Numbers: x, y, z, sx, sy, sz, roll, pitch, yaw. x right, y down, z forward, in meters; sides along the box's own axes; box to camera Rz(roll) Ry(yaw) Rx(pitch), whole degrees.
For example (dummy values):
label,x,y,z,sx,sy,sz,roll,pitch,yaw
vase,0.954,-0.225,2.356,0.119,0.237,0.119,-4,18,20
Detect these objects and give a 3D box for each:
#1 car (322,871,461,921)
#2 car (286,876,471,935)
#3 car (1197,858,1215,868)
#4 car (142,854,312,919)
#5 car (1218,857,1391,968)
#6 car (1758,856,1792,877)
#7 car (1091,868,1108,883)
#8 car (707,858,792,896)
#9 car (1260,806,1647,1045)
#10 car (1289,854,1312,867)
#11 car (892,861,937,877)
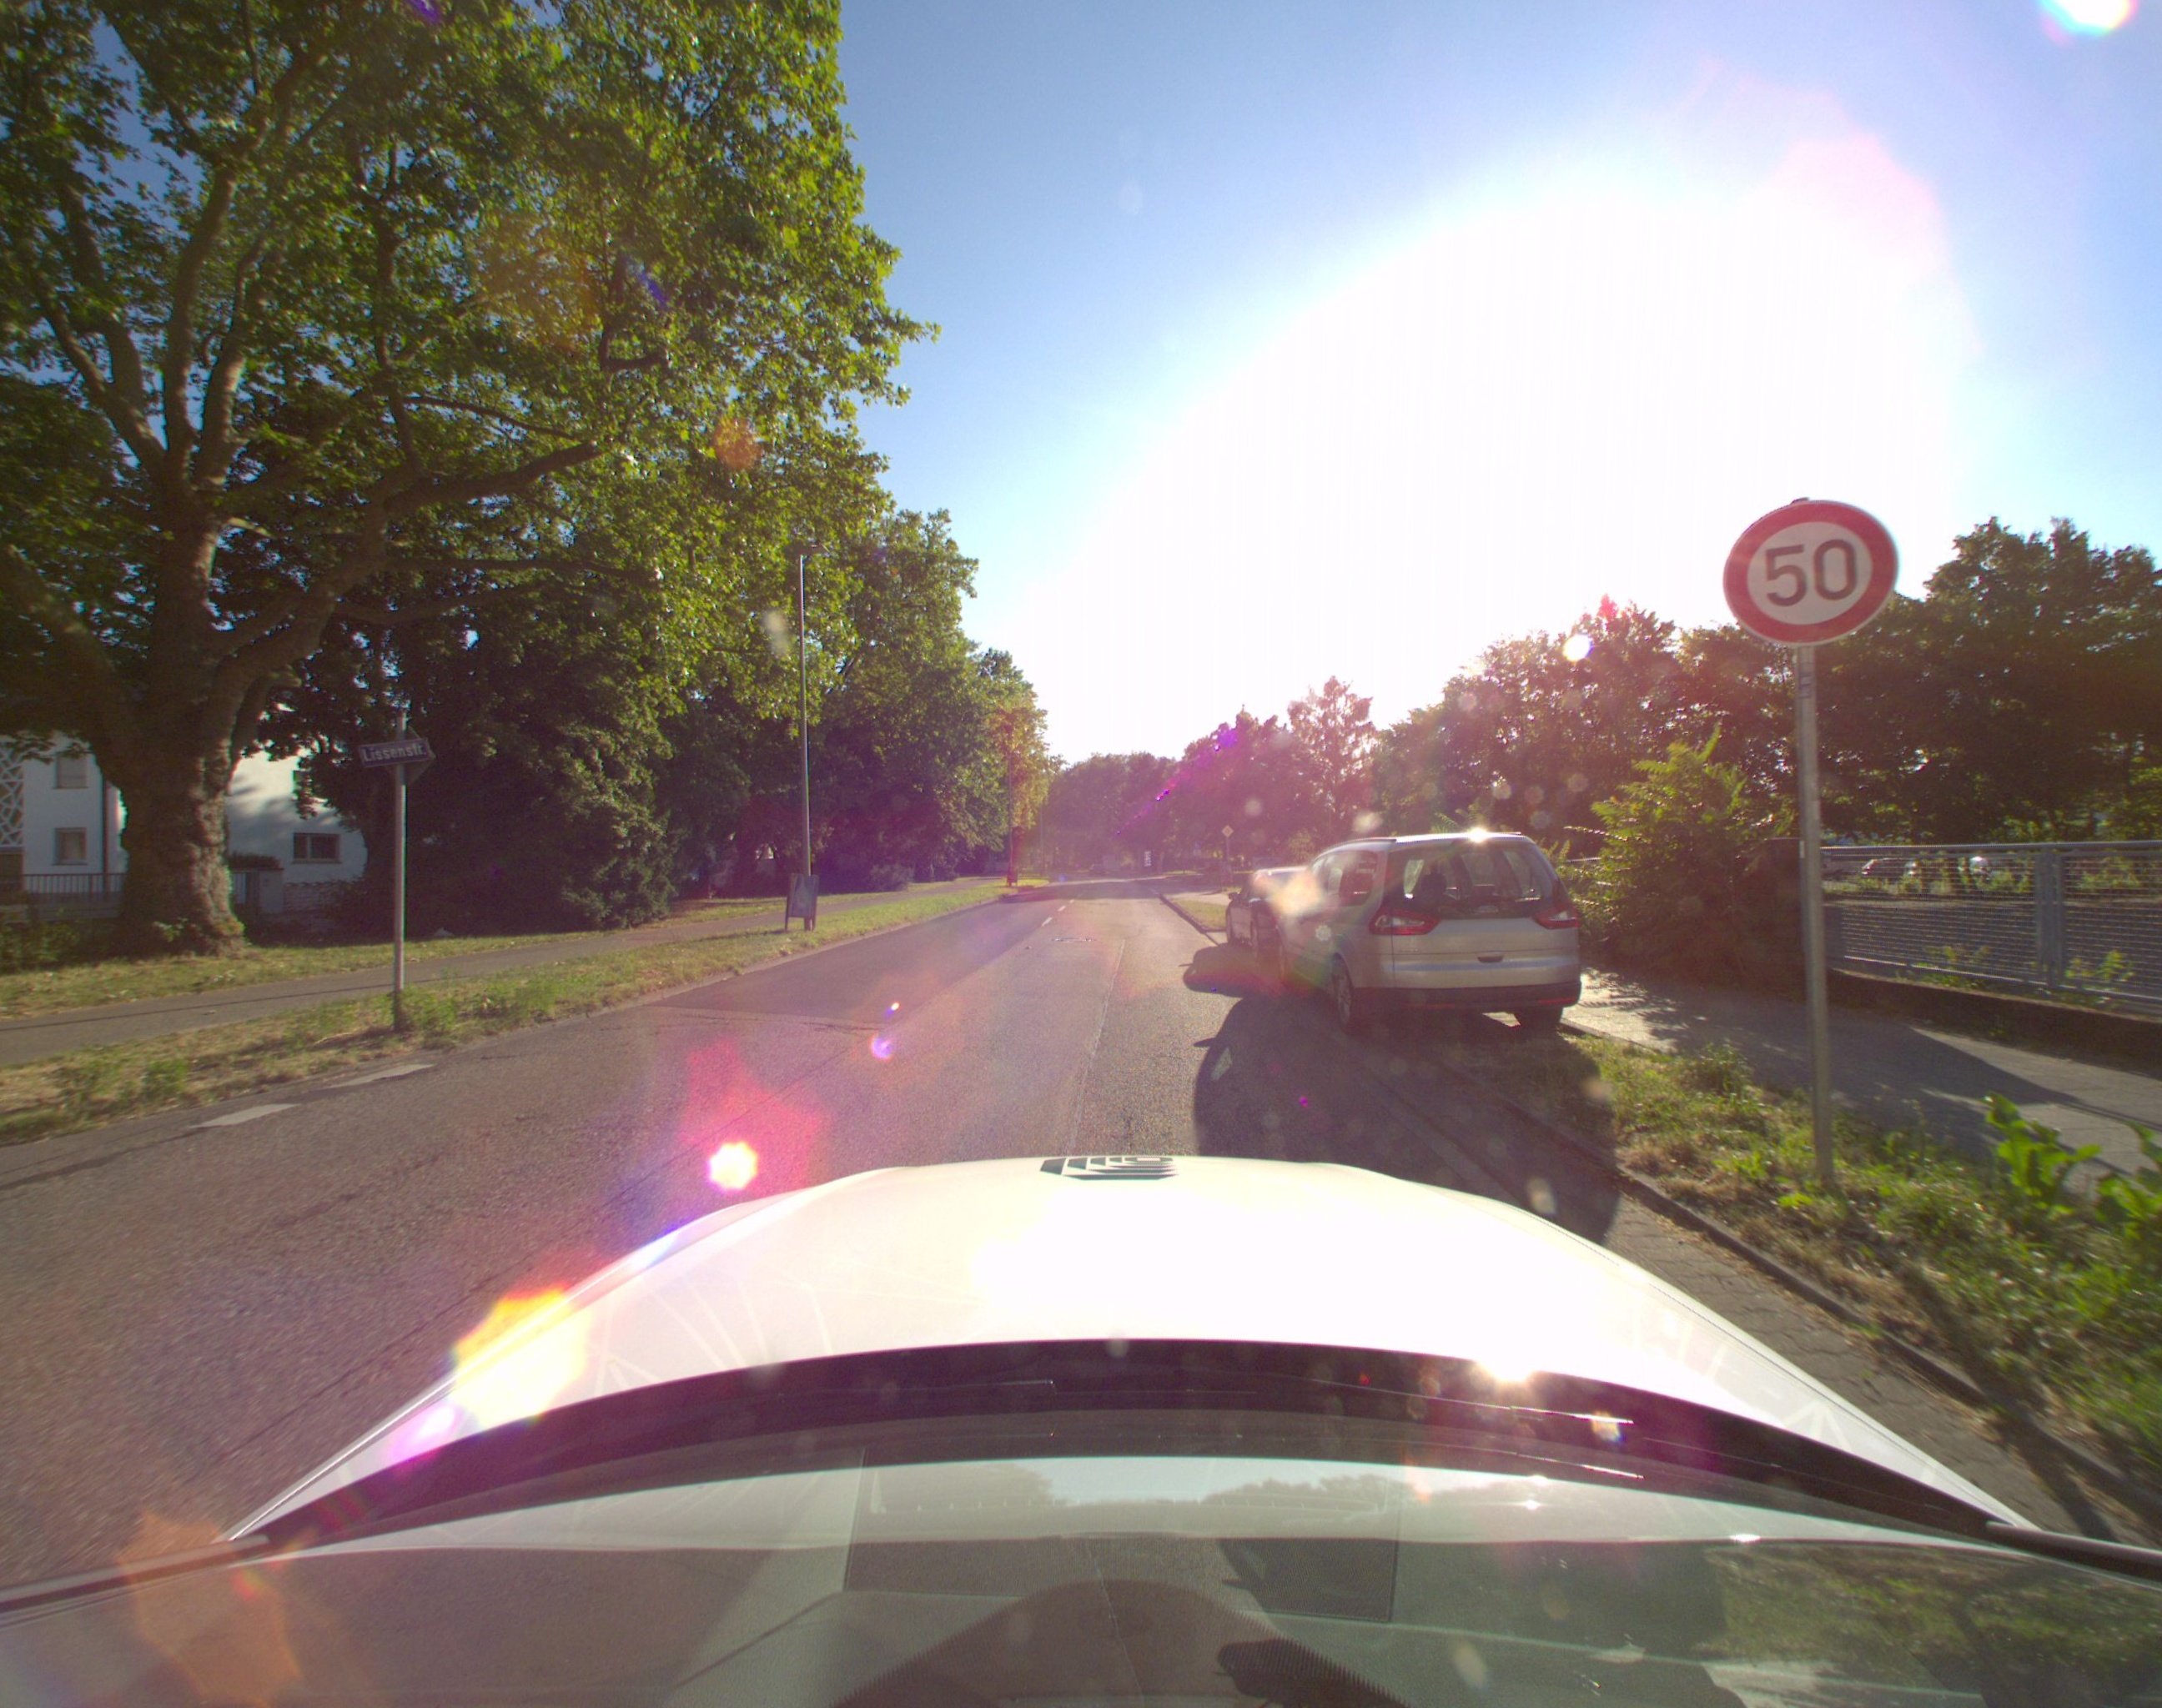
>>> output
label,x,y,z,sx,sy,sz,roll,pitch,yaw
car,-27.337,1.617,32.492,1.886,1.741,4.176,-2,-1,1
car,-21.090,1.516,24.572,3.975,1.684,1.726,-1,-2,-1
car,17.416,1.241,113.371,1.836,1.420,3.997,-1,-1,-2
car,-31.810,1.199,30.423,4.298,2.289,2.001,-1,-1,2
car,3.553,0.861,13.872,1.775,1.515,4.692,-2,-1,2
car,57.196,1.042,67.152,1.680,1.688,3.889,1,0,33
car,2.139,2.442,94.820,1.832,1.605,3.865,-2,-1,3
car,-18.446,1.254,45.455,3.982,2.044,1.904,0,1,-6
car,3.369,0.578,8.665,1.986,1.759,4.920,-2,-1,2
car,30.862,0.931,114.621,1.809,1.728,4.392,-1,0,-4
car,-15.805,1.425,77.600,3.980,1.508,1.909,0,-1,-5
